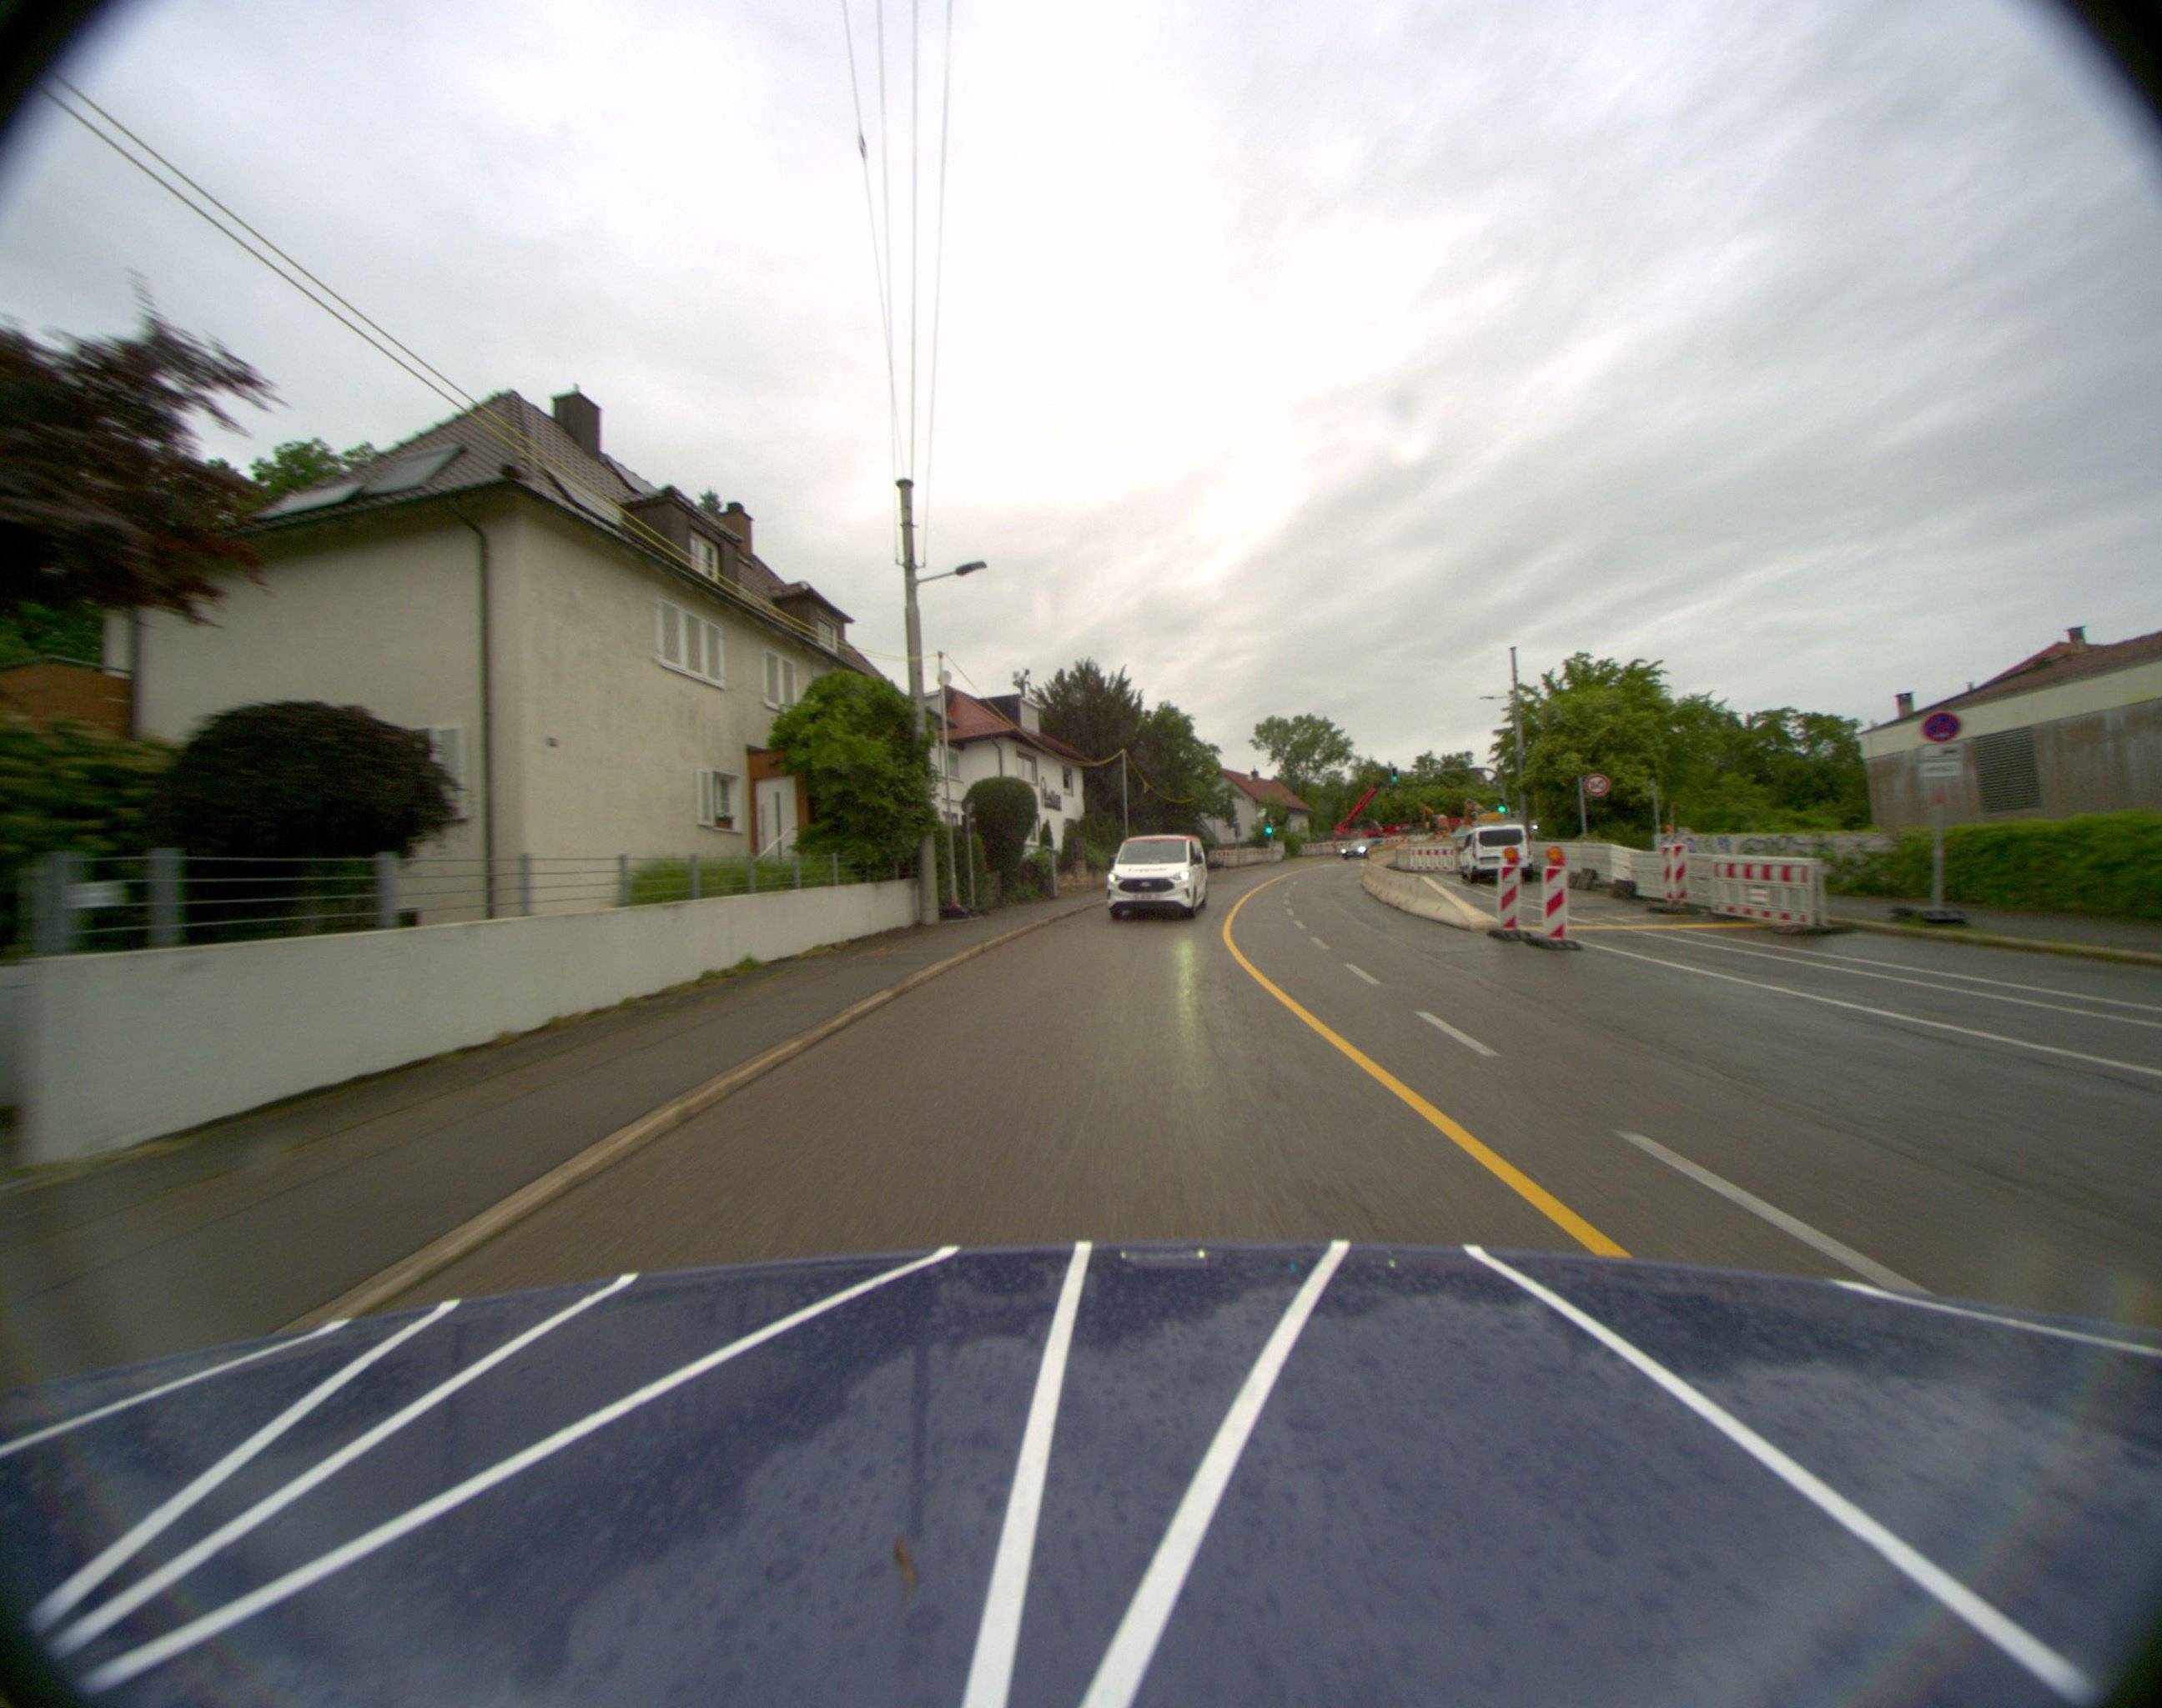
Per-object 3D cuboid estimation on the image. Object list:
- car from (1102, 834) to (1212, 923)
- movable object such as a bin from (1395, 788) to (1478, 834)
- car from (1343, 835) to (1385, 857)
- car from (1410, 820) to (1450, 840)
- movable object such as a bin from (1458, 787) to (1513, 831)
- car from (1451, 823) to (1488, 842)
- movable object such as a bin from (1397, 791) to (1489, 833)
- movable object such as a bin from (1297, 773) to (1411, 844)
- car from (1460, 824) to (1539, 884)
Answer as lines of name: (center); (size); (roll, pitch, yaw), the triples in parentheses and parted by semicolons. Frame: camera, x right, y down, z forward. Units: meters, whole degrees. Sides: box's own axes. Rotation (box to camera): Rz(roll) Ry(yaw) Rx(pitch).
car: (2.027, 0.526, 18.885); (2.039, 1.928, 4.519); (-1, 1, 14)
movable object such as a bin: (42.558, -5.047, 91.228); (3.330, 5.026, 8.304); (-4, 2, -43)
car: (21.209, -0.605, 56.840); (1.985, 1.428, 4.522); (-2, 2, 33)
car: (29.964, -2.073, 65.211); (1.984, 1.451, 4.523); (-1, 2, 39)
movable object such as a bin: (50.159, -5.434, 94.620); (3.319, 4.974, 9.859); (-2, 1, 12)
car: (34.204, -1.929, 66.872); (1.984, 1.451, 4.523); (-1, 2, 39)
movable object such as a bin: (48.558, -5.630, 101.646); (13.556, 5.168, 5.242); (-3, 2, -36)
movable object such as a bin: (27.682, -4.450, 76.976); (9.031, 6.515, 7.050); (-1, 2, 36)
car: (13.991, -0.030, 25.641); (1.807, 1.790, 4.469); (-2, 0, 22)
